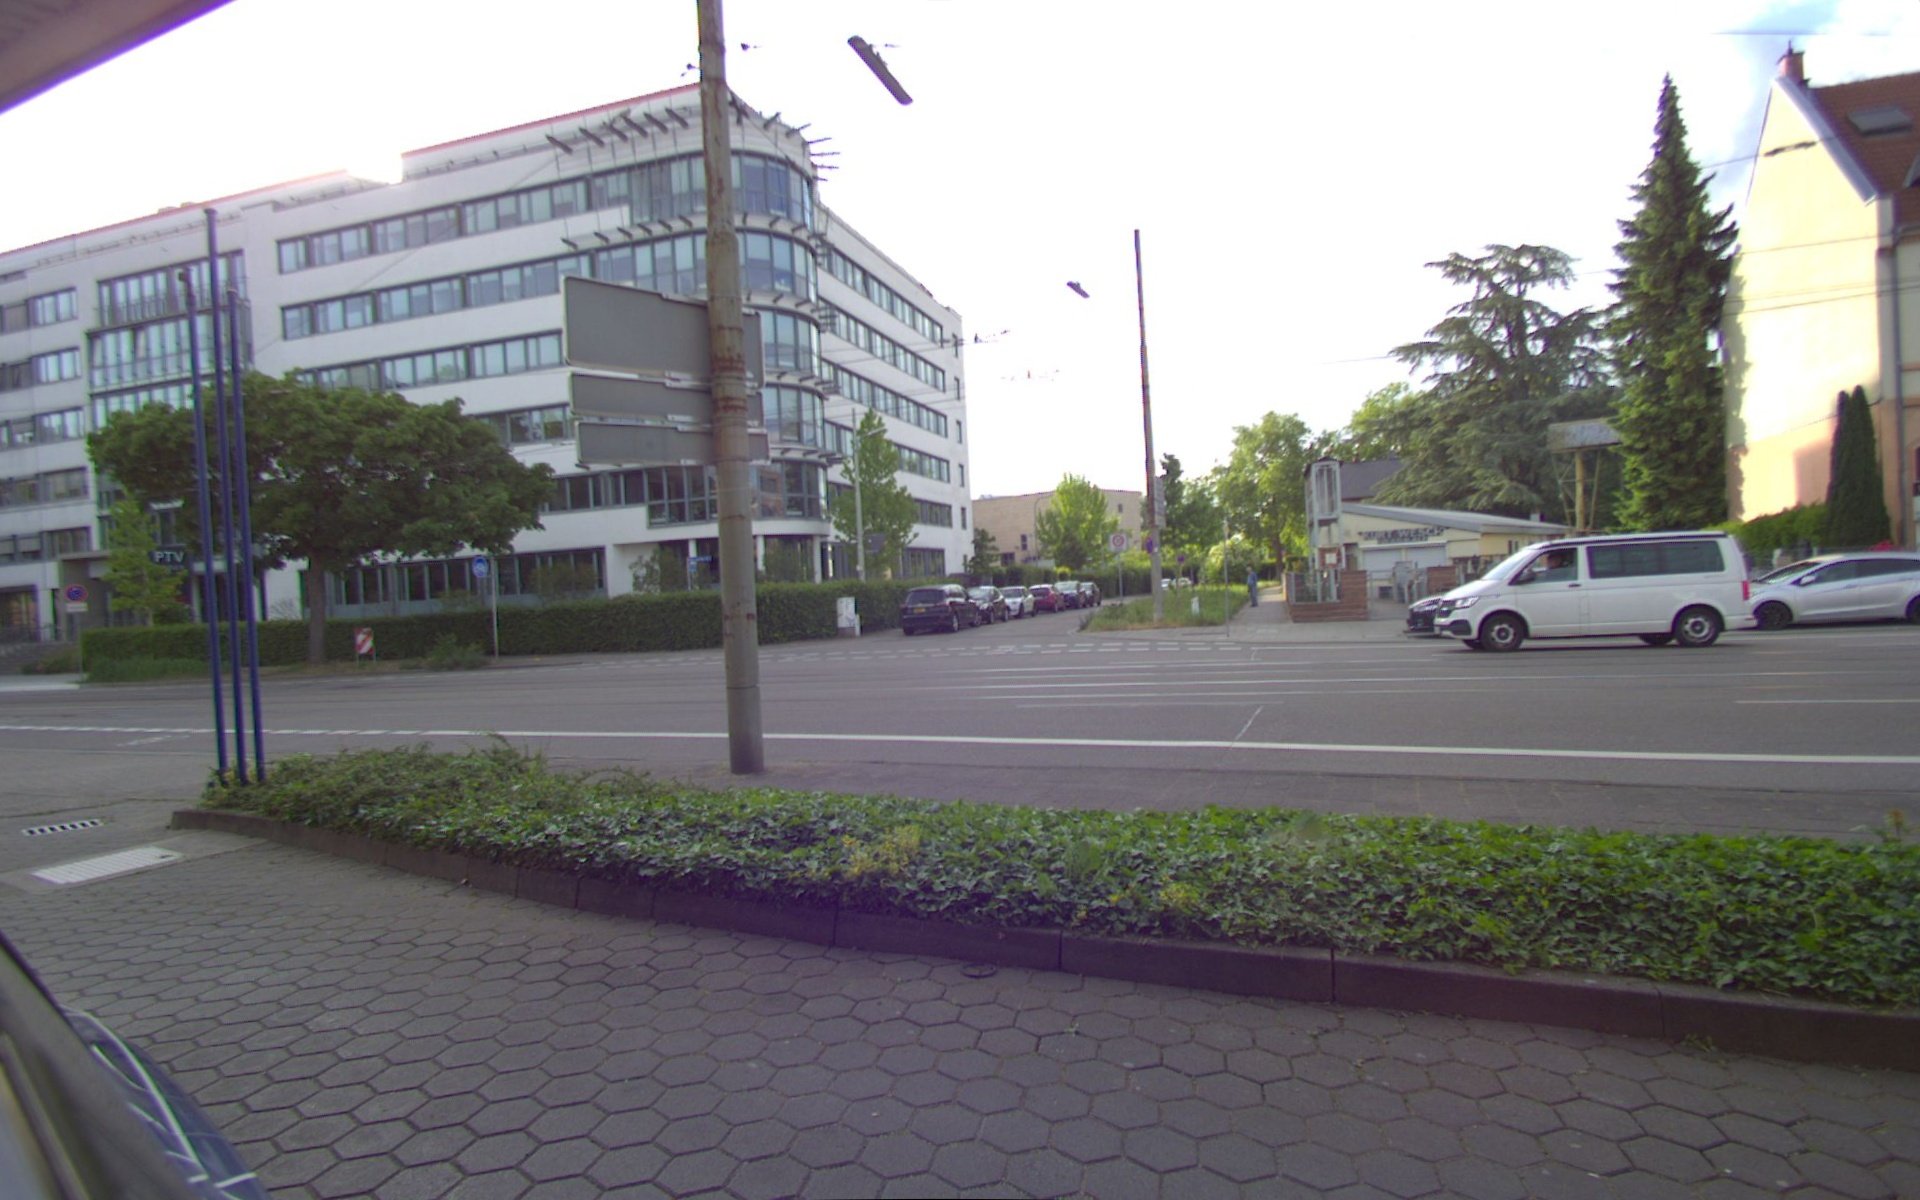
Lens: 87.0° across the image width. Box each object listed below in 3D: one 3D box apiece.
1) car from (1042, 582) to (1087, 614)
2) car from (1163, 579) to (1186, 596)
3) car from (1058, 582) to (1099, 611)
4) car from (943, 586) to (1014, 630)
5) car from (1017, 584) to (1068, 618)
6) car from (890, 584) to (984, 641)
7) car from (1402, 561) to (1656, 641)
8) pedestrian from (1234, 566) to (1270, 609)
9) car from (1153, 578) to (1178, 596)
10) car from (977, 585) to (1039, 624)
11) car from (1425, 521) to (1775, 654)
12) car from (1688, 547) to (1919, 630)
[{"bbox_3d":[5.993,-0.134,57.658,1.773,1.653,4.064,-4,0,17],"label":"car"},{"bbox_3d":[22.578,-1.294,106.307,1.774,1.653,4.060,-4,0,19],"label":"car"},{"bbox_3d":[7.385,-0.231,62.668,1.773,1.653,4.064,-4,0,17],"label":"car"},{"bbox_3d":[0.809,0.289,40.891,1.773,1.565,4.083,-4,0,17],"label":"car"},{"bbox_3d":[4.299,0.024,52.357,1.773,1.552,4.018,-4,0,17],"label":"car"},{"bbox_3d":[-0.711,0.381,35.533,1.962,1.625,4.411,-4,2,17],"label":"car"},{"bbox_3d":[12.927,0.041,23.412,4.791,1.507,1.986,-4,0,22],"label":"car"},{"bbox_3d":[12.722,-0.530,44.152,0.988,1.843,1.096,-1,0,-28],"label":"pedestrian"},{"bbox_3d":[20.439,-1.265,100.610,1.774,1.653,4.060,-4,0,19],"label":"car"},{"bbox_3d":[2.218,0.177,45.752,1.773,1.565,4.083,-4,0,17],"label":"car"},{"bbox_3d":[11.259,-0.190,18.252,4.845,1.983,1.990,-3,0,16],"label":"car"},{"bbox_3d":[18.503,-0.261,21.494,4.459,1.486,1.986,-4,0,22],"label":"car"}]
